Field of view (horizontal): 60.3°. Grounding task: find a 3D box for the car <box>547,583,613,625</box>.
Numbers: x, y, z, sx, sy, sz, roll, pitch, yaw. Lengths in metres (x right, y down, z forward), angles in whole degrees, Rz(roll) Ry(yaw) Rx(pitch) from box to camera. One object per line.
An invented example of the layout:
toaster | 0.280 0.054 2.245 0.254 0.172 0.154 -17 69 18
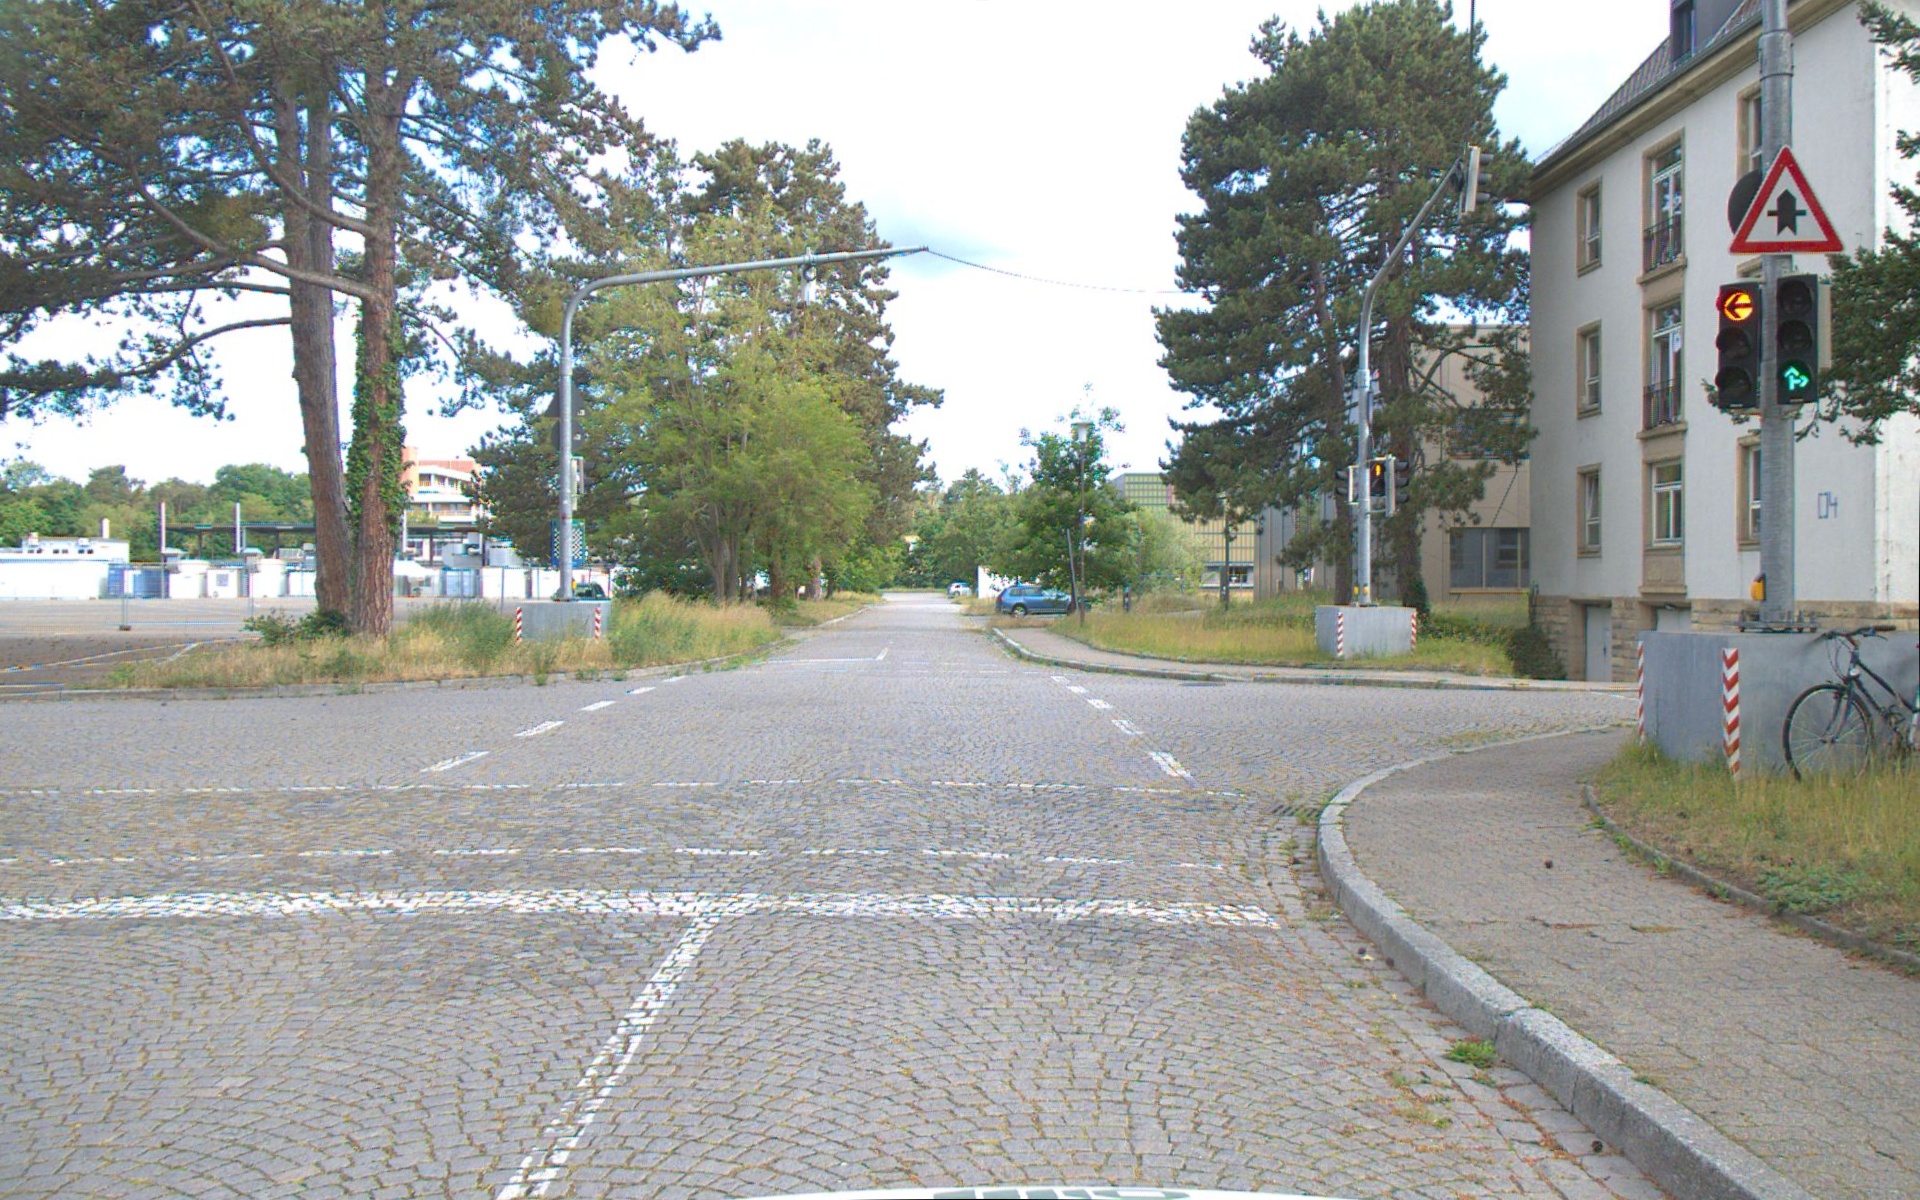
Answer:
car | -14.014 0.128 61.127 1.580 1.513 3.999 0 1 -1

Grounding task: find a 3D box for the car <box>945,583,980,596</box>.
car | 0.282 -1.222 193.497 3.911 1.422 1.997 0 1 -7

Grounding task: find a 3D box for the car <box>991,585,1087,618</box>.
car | 3.644 0.057 76.493 4.258 1.447 1.999 0 1 -4

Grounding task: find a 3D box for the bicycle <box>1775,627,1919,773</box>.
bicycle | 6.190 0.627 10.604 1.665 0.889 0.573 0 0 -1
